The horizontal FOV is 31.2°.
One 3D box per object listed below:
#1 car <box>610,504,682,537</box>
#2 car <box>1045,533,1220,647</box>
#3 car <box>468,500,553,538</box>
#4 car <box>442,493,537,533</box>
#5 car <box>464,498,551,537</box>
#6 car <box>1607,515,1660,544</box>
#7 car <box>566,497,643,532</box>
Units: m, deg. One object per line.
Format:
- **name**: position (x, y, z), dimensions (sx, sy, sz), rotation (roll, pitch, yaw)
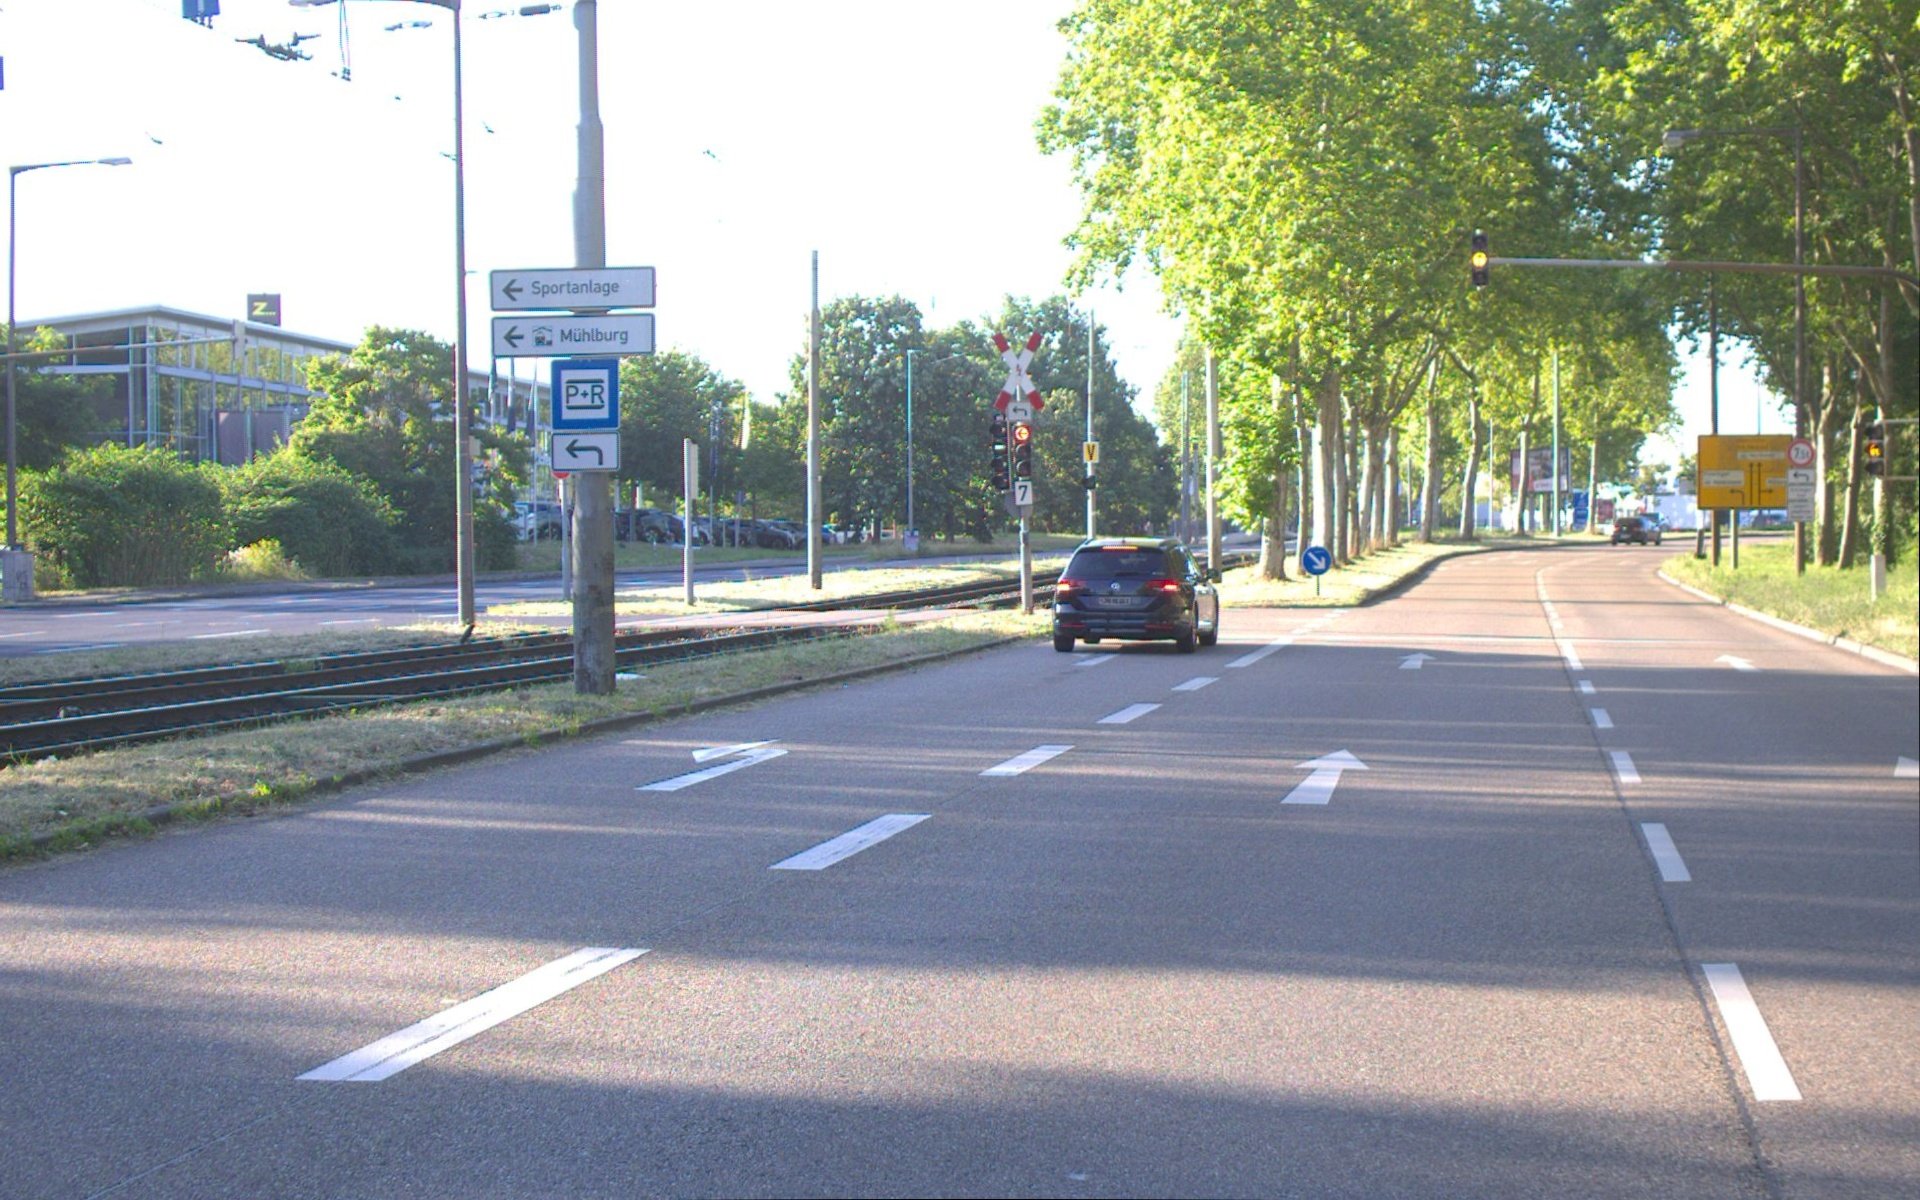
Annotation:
- **car**: position (-14.698, -3.730, 160.967), dimensions (3.143, 1.485, 1.455), rotation (1, 1, 6)
- **car**: position (2.263, -0.156, 44.373), dimensions (1.793, 1.398, 3.687), rotation (0, 1, 10)
- **car**: position (-18.186, -3.291, 139.186), dimensions (3.143, 1.485, 1.455), rotation (1, 1, 6)
- **car**: position (-17.041, -3.146, 124.659), dimensions (3.143, 1.387, 1.455), rotation (1, 1, 6)
- **car**: position (-17.796, -3.244, 135.239), dimensions (3.143, 1.485, 1.455), rotation (1, 1, 6)
- **car**: position (33.860, -3.540, 172.839), dimensions (1.795, 1.398, 3.684), rotation (1, 1, 25)
- **car**: position (-15.721, -3.778, 152.037), dimensions (3.143, 1.485, 1.455), rotation (1, 1, 6)
